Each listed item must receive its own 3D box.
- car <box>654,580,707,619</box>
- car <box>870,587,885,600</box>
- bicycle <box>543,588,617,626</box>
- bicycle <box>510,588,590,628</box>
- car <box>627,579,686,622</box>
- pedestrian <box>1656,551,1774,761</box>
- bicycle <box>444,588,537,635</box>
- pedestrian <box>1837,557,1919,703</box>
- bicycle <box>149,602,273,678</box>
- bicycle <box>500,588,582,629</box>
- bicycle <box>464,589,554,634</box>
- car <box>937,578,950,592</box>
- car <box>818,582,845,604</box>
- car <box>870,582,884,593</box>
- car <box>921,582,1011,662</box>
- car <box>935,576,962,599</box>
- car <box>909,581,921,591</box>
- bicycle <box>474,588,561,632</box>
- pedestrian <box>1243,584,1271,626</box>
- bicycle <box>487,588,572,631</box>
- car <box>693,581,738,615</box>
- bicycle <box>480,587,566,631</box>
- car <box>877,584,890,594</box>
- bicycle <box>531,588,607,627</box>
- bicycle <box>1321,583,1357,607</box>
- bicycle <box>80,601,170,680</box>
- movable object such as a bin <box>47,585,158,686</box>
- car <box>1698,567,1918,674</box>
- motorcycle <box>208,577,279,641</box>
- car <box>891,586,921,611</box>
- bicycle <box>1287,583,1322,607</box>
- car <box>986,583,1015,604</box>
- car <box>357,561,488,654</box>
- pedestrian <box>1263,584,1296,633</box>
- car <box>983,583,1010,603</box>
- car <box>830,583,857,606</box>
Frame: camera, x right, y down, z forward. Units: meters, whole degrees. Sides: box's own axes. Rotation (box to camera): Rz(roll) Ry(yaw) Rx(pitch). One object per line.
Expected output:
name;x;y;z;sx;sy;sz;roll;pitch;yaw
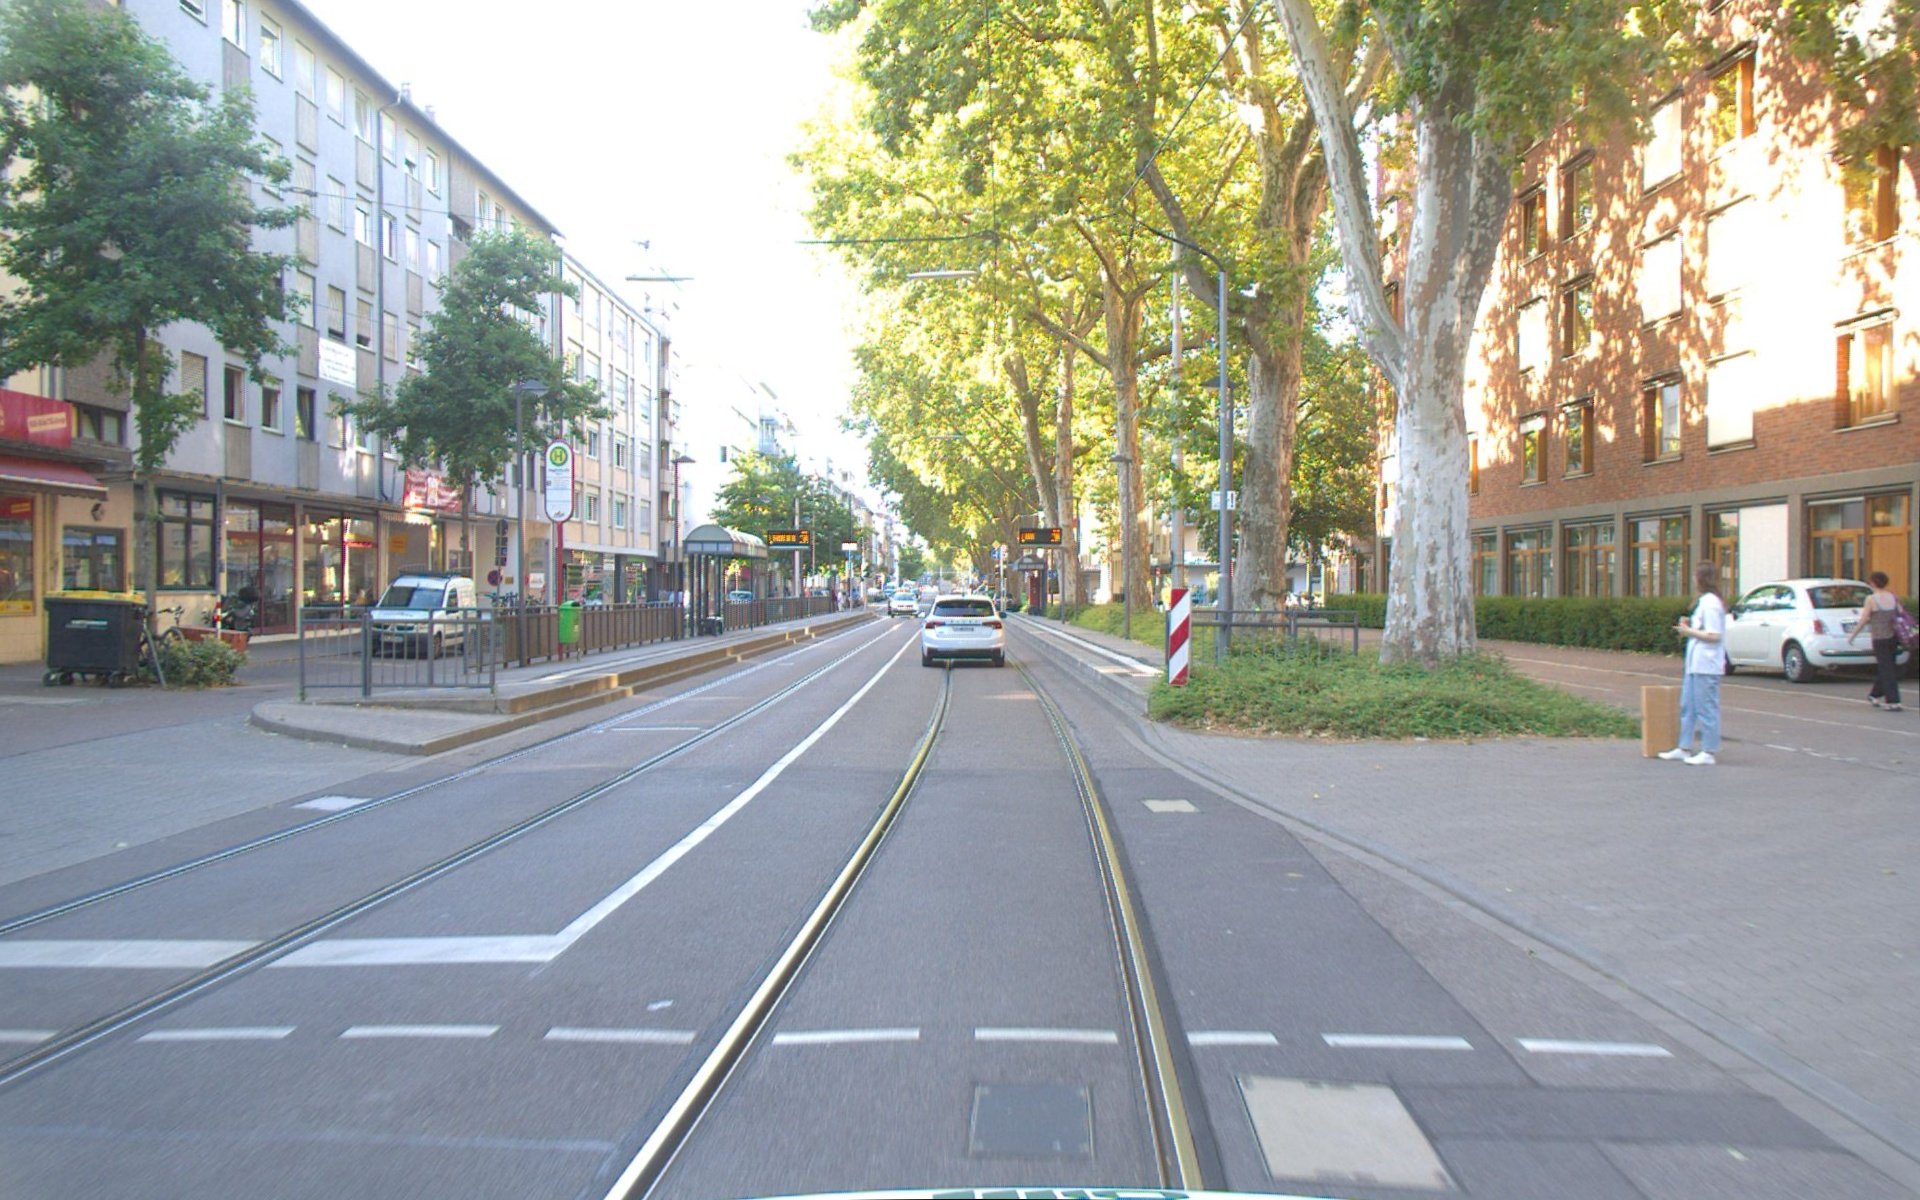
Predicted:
car;-11.928;-0.040;70.823;1.561;1.575;4.000;2;1;0
car;-10.616;-0.820;212.284;1.752;1.539;4.000;0;1;0
bicycle;-12.338;0.216;53.774;2.206;1.092;0.636;3;1;1
bicycle;-12.447;0.234;50.270;2.206;1.092;0.636;3;1;1
car;-11.997;0.001;65.631;1.561;1.575;4.000;2;1;0
pedestrian;6.295;0.450;13.824;0.639;1.698;0.738;0;0;-1
bicycle;-12.252;0.306;43.180;2.206;1.092;0.636;3;1;1
pedestrian;11.066;0.347;19.775;0.720;1.698;0.834;0;0;-1
bicycle;-11.773;0.616;26.037;1.502;1.093;0.885;3;1;-1
bicycle;-12.292;0.250;48.524;2.206;1.092;0.636;3;1;1
bicycle;-12.214;0.304;44.828;2.206;1.092;0.636;3;1;1
car;-2.284;-2.151;234.503;1.828;1.925;4.000;0;1;0
car;-9.626;-0.523;124.065;1.643;1.575;4.000;2;1;0
car;-11.437;-1.717;228.313;1.752;1.539;4.000;0;1;0
car;0.110;0.416;34.424;1.752;1.539;4.000;0;1;0
car;-0.744;-0.863;111.031;1.752;1.539;4.000;0;1;0
car;-6.695;-2.089;245.305;1.752;1.539;4.000;0;1;0
bicycle;-12.314;0.281;46.031;2.206;1.092;0.636;3;1;1
pedestrian;11.690;0.188;65.095;0.952;1.652;0.887;0;0;-1
bicycle;-12.296;0.261;47.261;2.206;1.092;0.636;3;1;1
car;-12.107;-0.140;82.040;1.643;1.575;4.000;2;1;0
bicycle;-12.307;0.249;46.638;2.206;1.092;0.636;3;1;1
car;-11.438;-1.681;247.383;1.752;1.539;4.000;0;1;0
bicycle;-12.310;0.231;52.102;2.206;1.092;0.636;3;1;1
bicycle;17.329;-0.234;75.693;1.534;1.055;0.479;0;1;23
bicycle;-12.774;0.602;25.359;0.488;1.127;1.799;3;0;-3
movable object such as a bin;-12.405;0.508;23.960;1.147;1.372;0.782;3;0;-5
car;12.923;0.280;25.433;1.568;1.521;3.416;0;1;-2
motorcycle;-15.622;0.178;36.107;0.586;1.334;2.222;0;1;0
car;-3.189;-0.090;97.804;1.659;1.444;4.000;0;1;0
bicycle;15.755;-0.232;75.664;1.534;1.055;0.479;0;1;21
car;2.917;-0.480;118.476;1.953;1.478;4.000;0;1;0
car;-12.060;0.134;37.359;1.653;1.974;4.000;0;1;0
pedestrian;10.839;0.284;56.136;0.952;1.652;0.887;0;0;-1
car;2.717;-0.526;123.561;1.953;1.478;4.000;0;1;0
car;-8.200;-0.404;116.526;1.643;1.575;4.000;2;1;0
